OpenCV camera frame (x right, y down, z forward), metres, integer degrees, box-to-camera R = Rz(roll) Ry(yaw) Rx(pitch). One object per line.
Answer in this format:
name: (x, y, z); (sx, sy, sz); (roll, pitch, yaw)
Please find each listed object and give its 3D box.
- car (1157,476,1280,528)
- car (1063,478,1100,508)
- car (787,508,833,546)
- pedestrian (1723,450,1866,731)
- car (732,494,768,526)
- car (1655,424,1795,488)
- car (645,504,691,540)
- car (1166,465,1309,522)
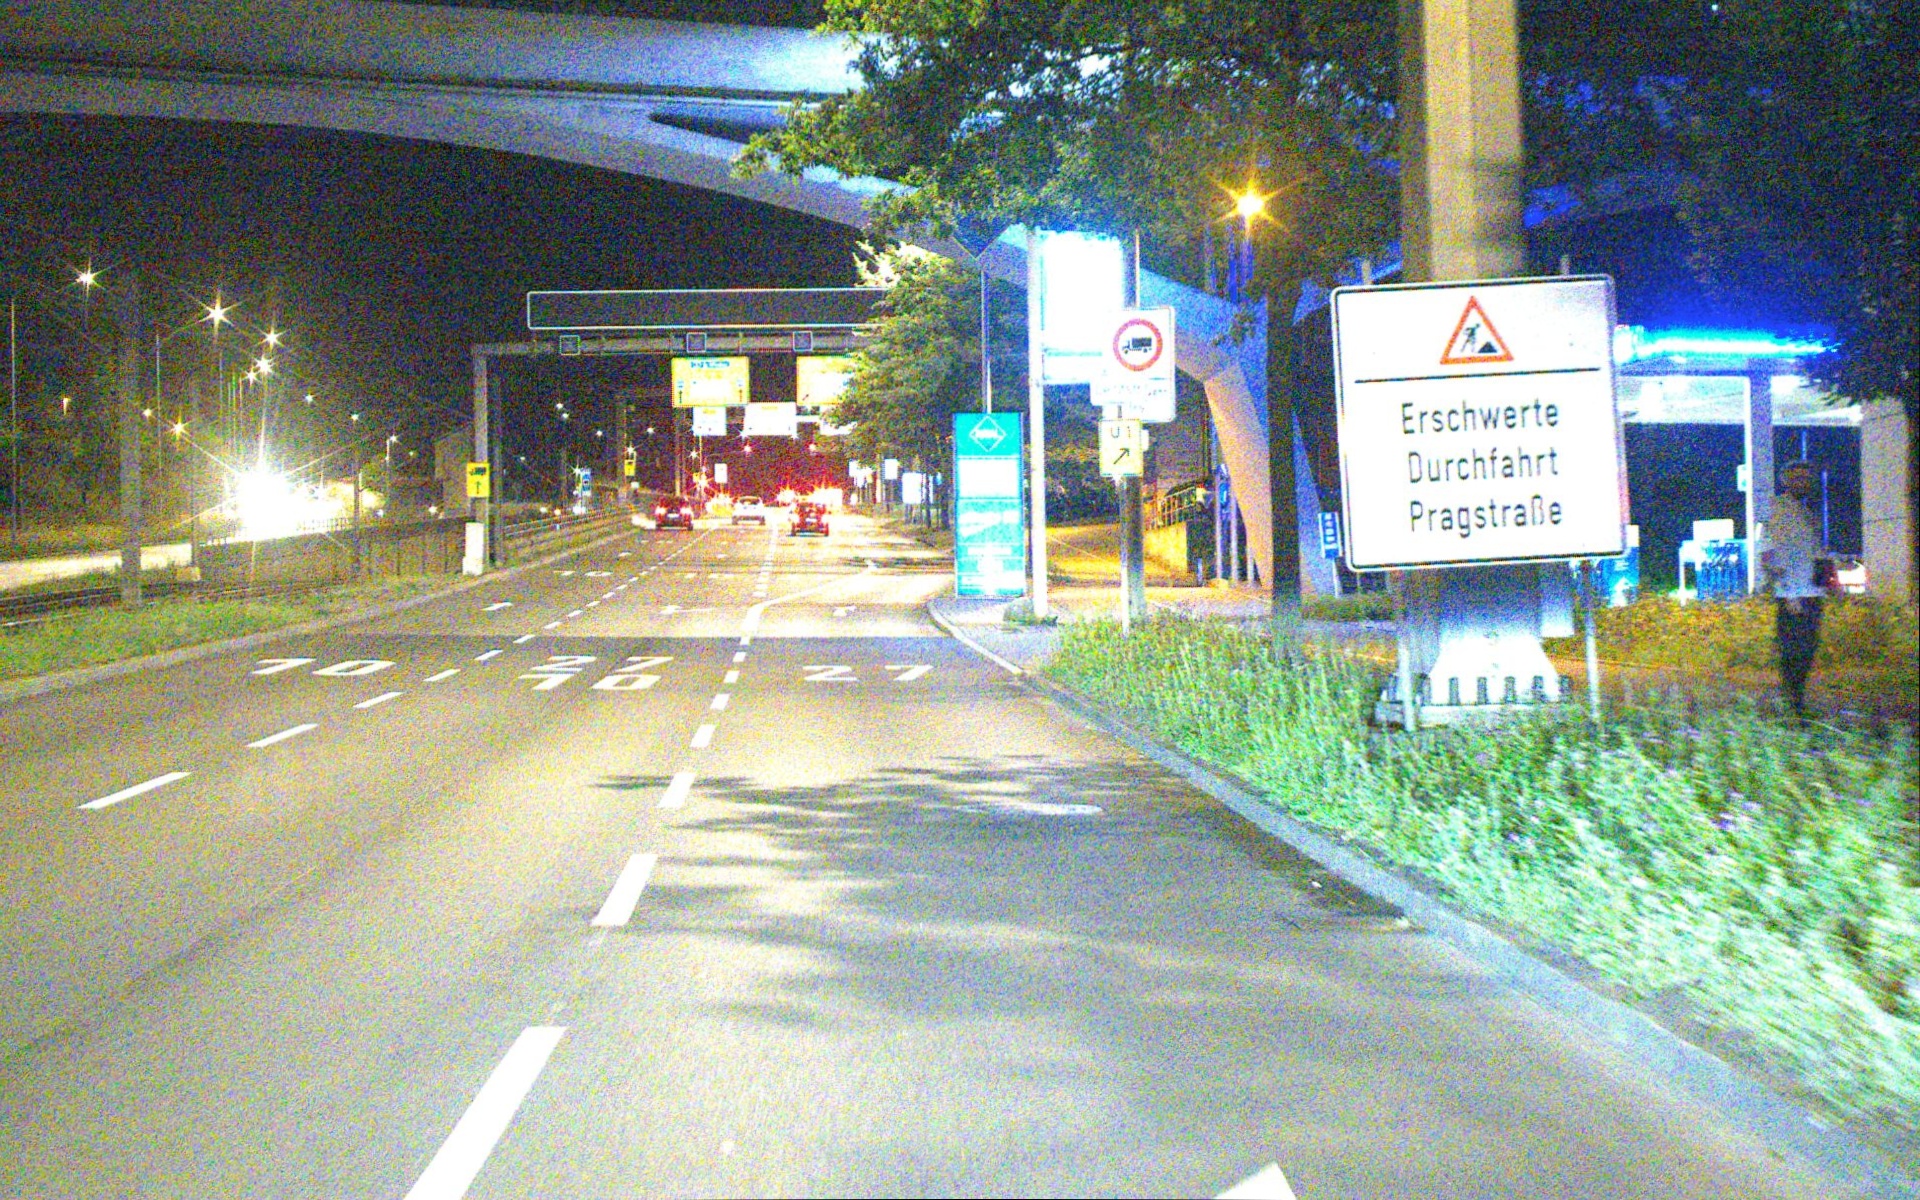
car: (8.420, -3.190, 112.077); (3.724, 1.484, 1.742); (-2, 0, -4)
car: (6.692, -5.889, 189.608); (1.893, 1.506, 3.636); (1, 0, 4)
car: (-6.996, -3.409, 160.828); (1.968, 1.705, 4.000); (1, 0, -1)
pedestrian: (5.854, -0.073, 24.161); (0.805, 1.907, 0.793); (-3, 1, 7)
car: (-11.885, -5.097, 194.773); (1.782, 1.705, 4.000); (1, 0, -1)
car: (23.338, -4.404, 104.972); (3.808, 1.889, 1.753); (0, 0, -5)
car: (-14.380, -3.834, 169.360); (1.968, 1.705, 4.000); (1, 0, -1)
car: (8.433, -3.239, 104.611); (4.119, 1.517, 1.822); (-2, 0, -1)
